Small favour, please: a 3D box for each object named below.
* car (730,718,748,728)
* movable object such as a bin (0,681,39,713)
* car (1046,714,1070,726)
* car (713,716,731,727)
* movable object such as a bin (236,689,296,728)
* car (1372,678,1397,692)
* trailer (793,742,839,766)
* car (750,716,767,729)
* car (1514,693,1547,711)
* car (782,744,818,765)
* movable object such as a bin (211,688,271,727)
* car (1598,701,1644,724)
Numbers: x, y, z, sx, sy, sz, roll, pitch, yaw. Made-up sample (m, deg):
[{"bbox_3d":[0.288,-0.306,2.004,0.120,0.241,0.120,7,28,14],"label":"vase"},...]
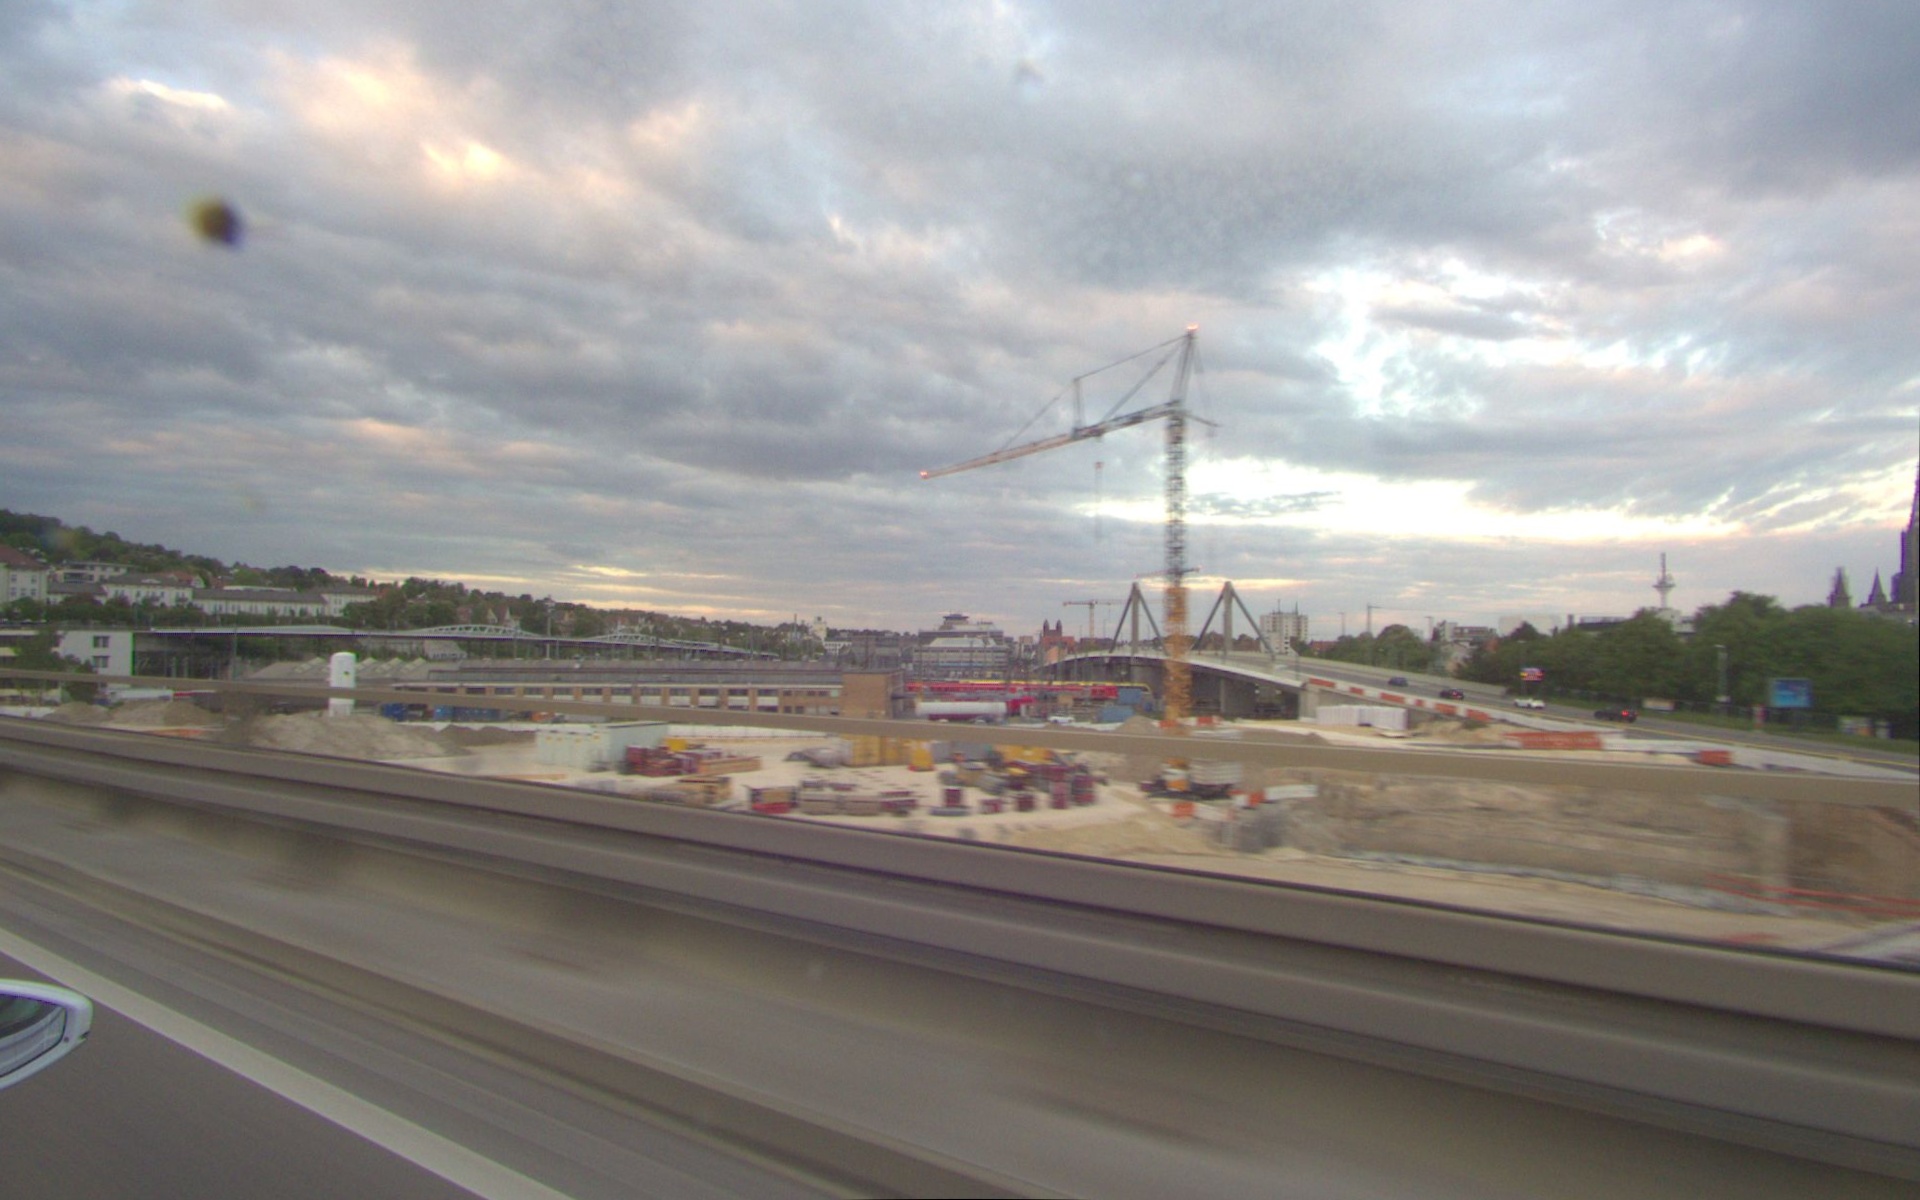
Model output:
[{"bbox_3d":[-32.655,18.223,148.352,1.835,1.435,4.009,4,-8,-2],"label":"car"},{"bbox_3d":[-135.173,13.818,142.959,4.867,4.356,2.788,1,-7,17],"label":"movable object such as a bin"},{"bbox_3d":[15.912,19.502,162.734,3.619,1.593,1.440,5,-7,-11],"label":"car"},{"bbox_3d":[-35.327,18.100,148.626,1.835,1.435,4.009,4,-8,-2],"label":"car"},{"bbox_3d":[-83.922,13.131,121.135,2.733,4.356,4.965,1,-8,14],"label":"movable object such as a bin"},{"bbox_3d":[65.243,13.061,154.037,1.744,1.760,4.001,5,-3,-6],"label":"car"},{"bbox_3d":[-10.566,11.232,73.223,1.761,1.256,4.229,4,-4,-32],"label":"trailer"},{"bbox_3d":[-29.869,18.228,148.534,1.835,1.733,4.009,4,-7,-2],"label":"car"},{"bbox_3d":[69.910,12.465,122.781,1.565,1.760,3.706,5,-2,-6],"label":"car"},{"bbox_3d":[-13.287,12.742,82.871,1.510,1.457,3.779,8,-8,-31],"label":"car"},{"bbox_3d":[-87.633,13.171,122.197,2.733,4.356,4.965,1,-8,14],"label":"movable object such as a bin"},{"bbox_3d":[70.536,11.994,106.920,1.962,2.039,3.999,4,-1,-6],"label":"car"}]
